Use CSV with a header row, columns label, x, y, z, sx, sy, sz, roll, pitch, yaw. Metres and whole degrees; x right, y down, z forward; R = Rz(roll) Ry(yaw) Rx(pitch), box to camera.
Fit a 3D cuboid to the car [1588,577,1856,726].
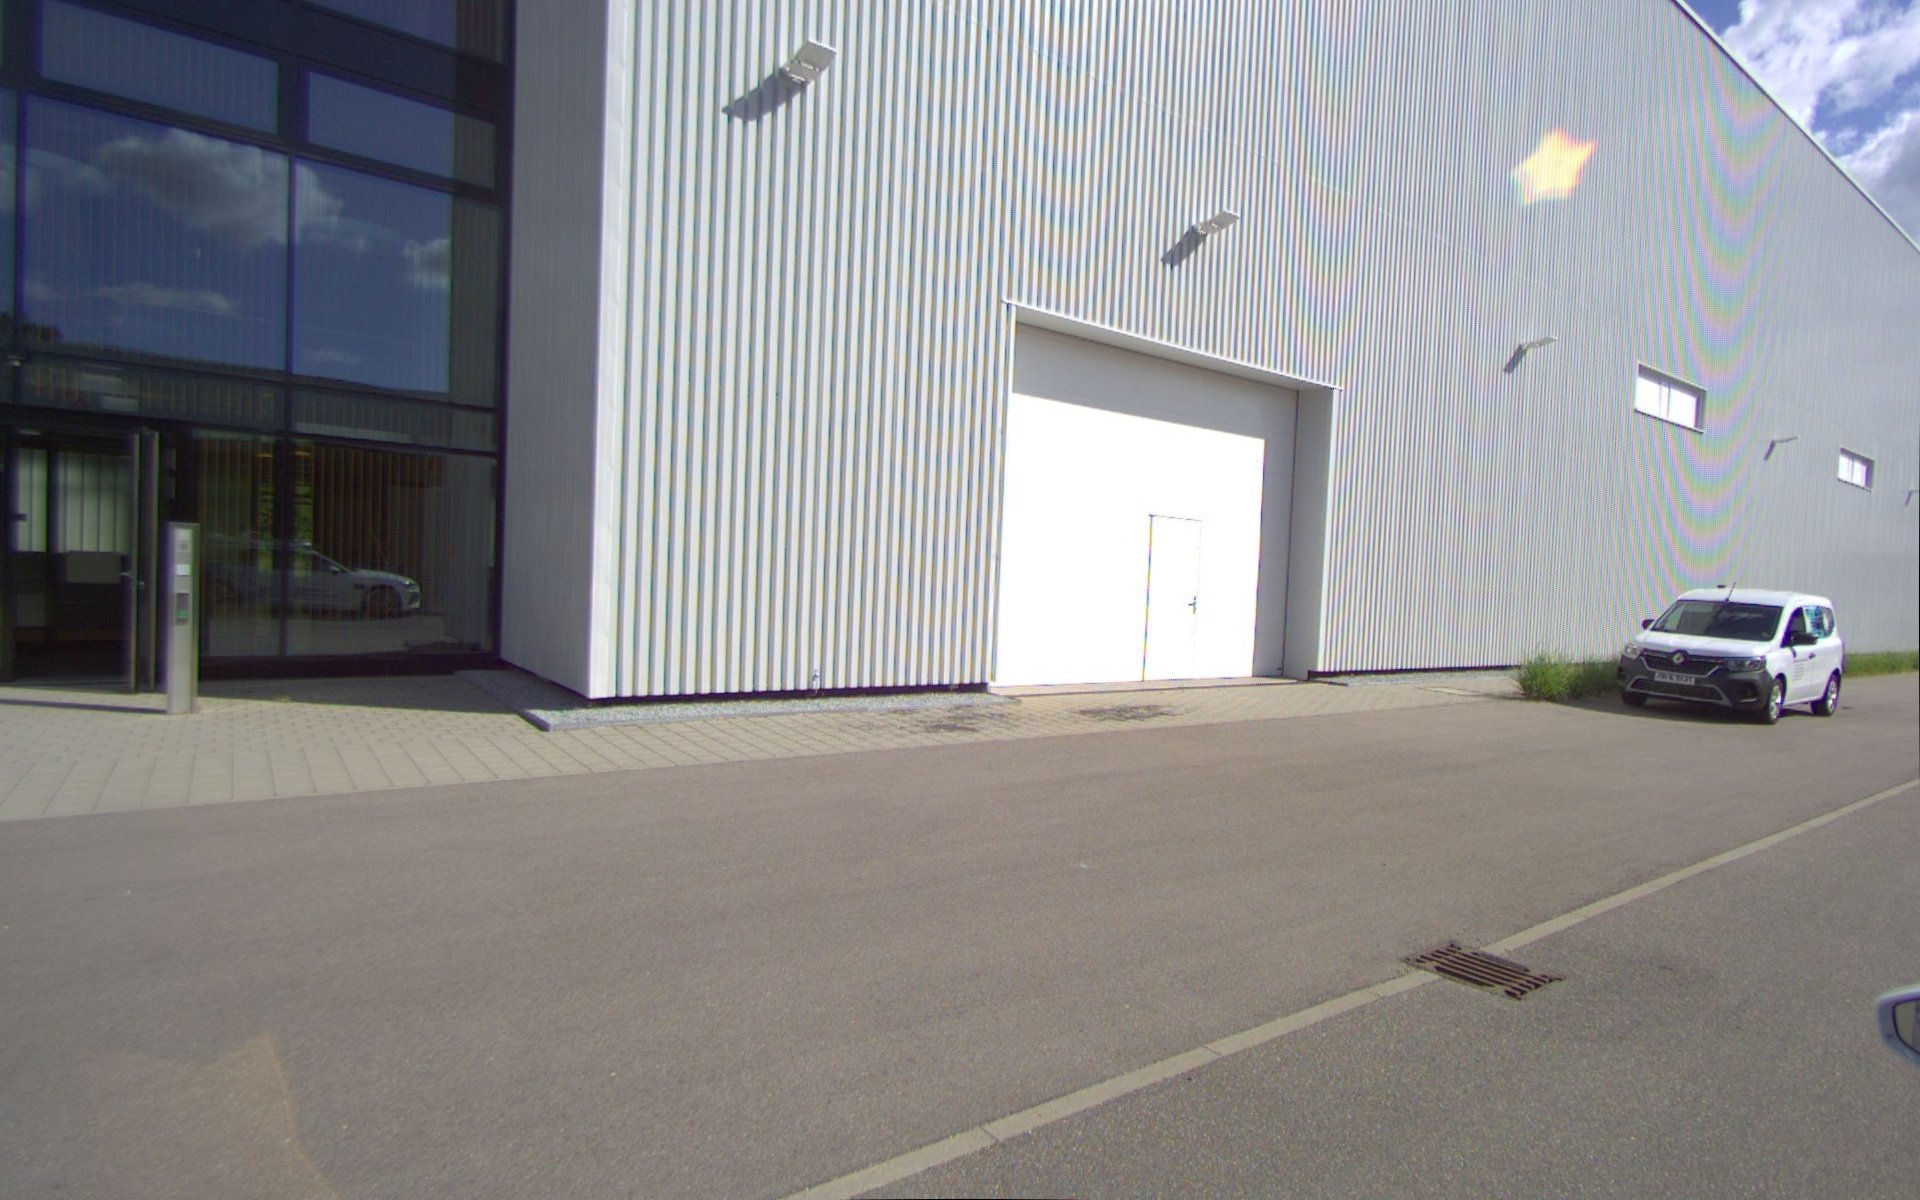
label,x,y,z,sx,sy,sz,roll,pitch,yaw
car,11.459,0.691,15.004,4.555,1.814,1.914,1,3,-37
